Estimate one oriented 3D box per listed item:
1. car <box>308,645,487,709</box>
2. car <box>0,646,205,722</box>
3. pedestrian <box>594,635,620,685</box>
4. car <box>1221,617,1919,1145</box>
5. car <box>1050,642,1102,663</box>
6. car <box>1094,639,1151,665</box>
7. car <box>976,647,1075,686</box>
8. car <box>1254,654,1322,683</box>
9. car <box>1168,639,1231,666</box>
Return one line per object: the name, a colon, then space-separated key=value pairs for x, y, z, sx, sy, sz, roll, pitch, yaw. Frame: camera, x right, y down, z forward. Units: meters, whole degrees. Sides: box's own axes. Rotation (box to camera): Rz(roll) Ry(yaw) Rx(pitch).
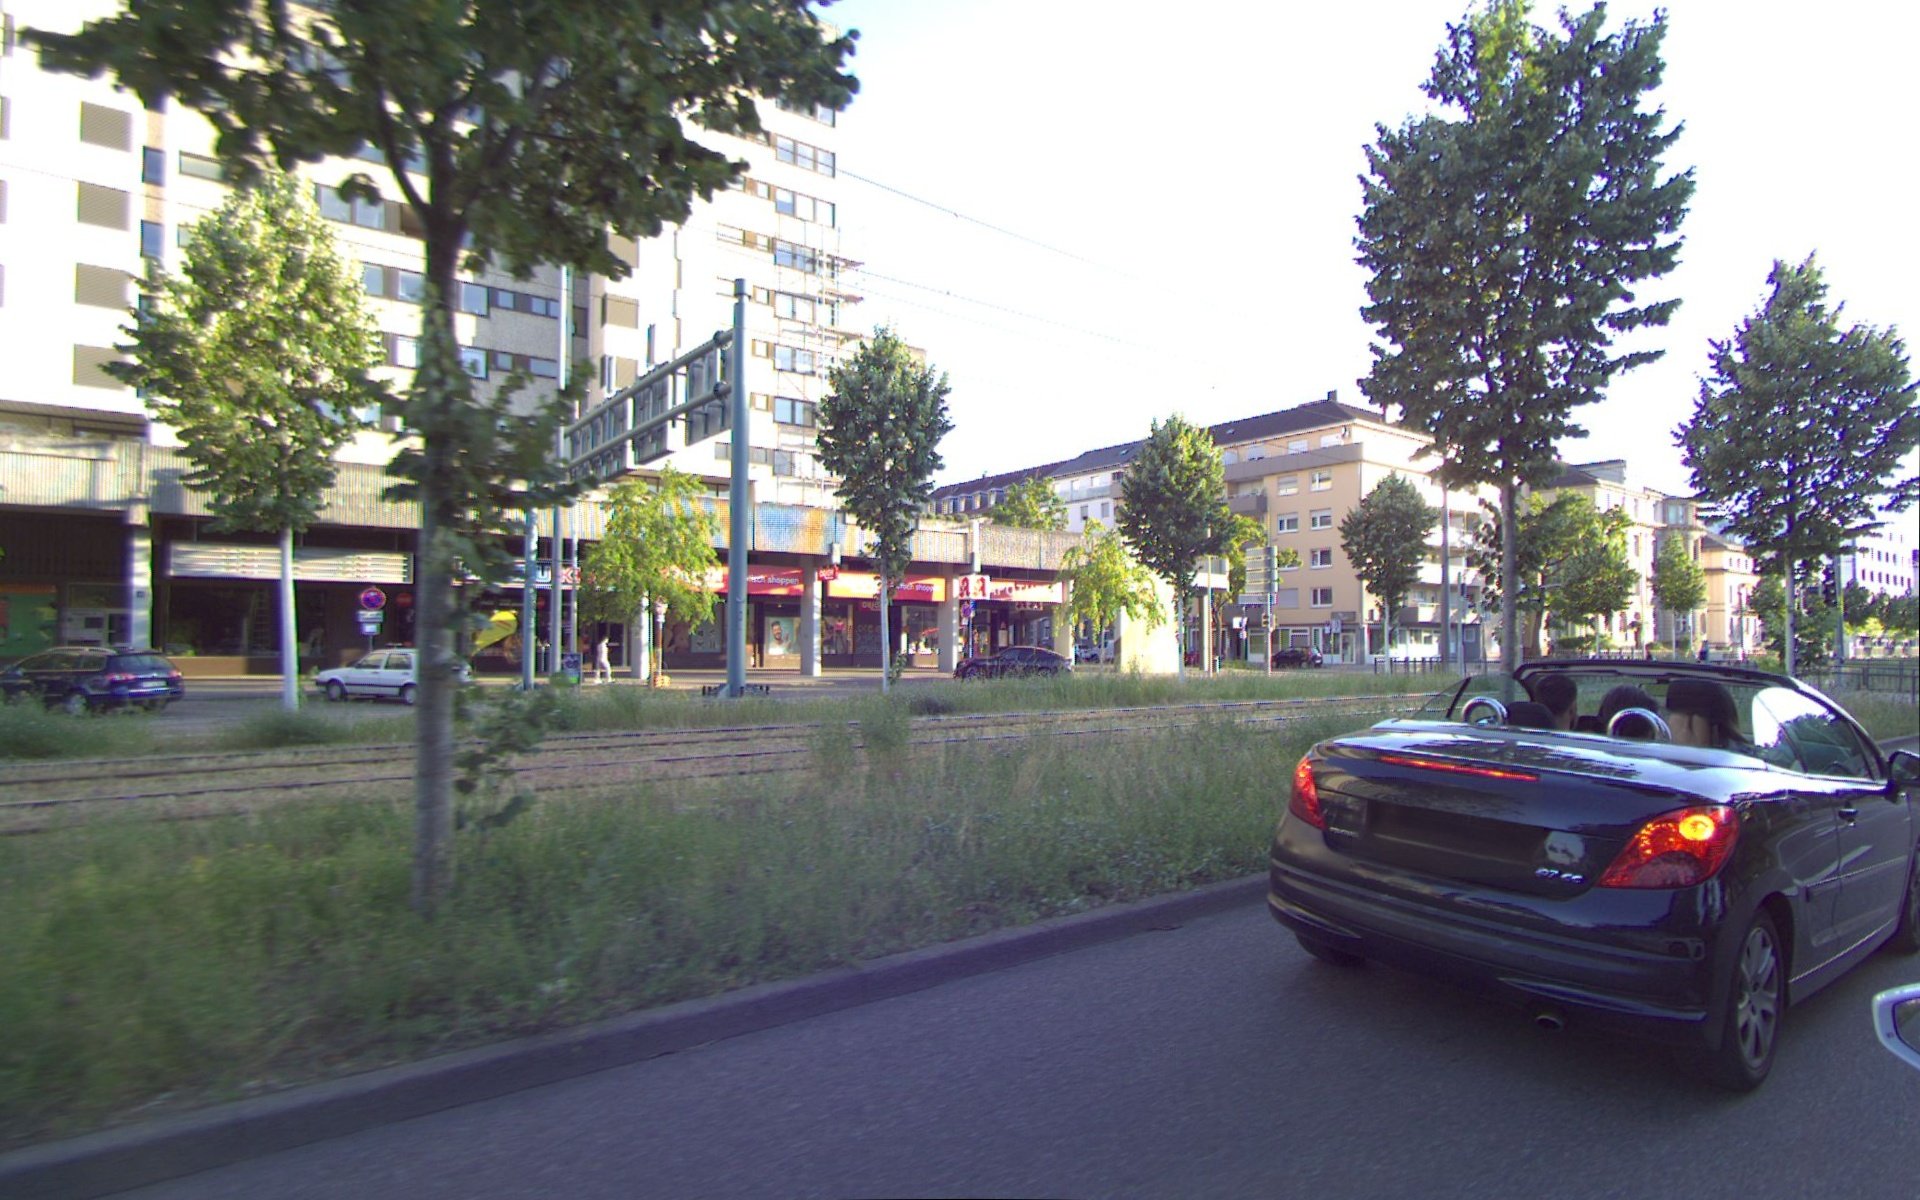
car: x=-15.097 y=2.027 z=27.004 sx=4.048 sy=1.455 sz=1.826 roll=1 pitch=-1 yaw=15
car: x=-19.953 y=1.865 z=22.992 sx=4.198 sy=1.611 sz=2.011 roll=0 pitch=-2 yaw=13
pedestrian: x=-12.104 y=2.051 z=34.474 sx=0.655 sy=1.683 sz=0.659 roll=2 pitch=-1 yaw=-36
car: x=3.134 y=0.818 z=4.653 sx=3.864 sy=1.469 sz=1.707 roll=1 pitch=-1 yaw=-36
car: x=10.060 y=4.564 z=87.436 sx=2.097 sy=1.778 sz=4.297 roll=2 pitch=-3 yaw=-37
car: x=13.373 y=4.259 z=82.850 sx=2.147 sy=2.016 sz=4.454 roll=2 pitch=-3 yaw=-37
car: x=2.609 y=2.599 z=39.725 sx=3.655 sy=1.469 sz=1.745 roll=0 pitch=-2 yaw=15
car: x=22.539 y=4.692 z=69.108 sx=2.171 sy=1.869 sz=3.905 roll=2 pitch=-3 yaw=-37
car: x=18.220 y=4.019 z=76.568 sx=2.147 sy=1.792 sz=4.299 roll=0 pitch=-4 yaw=-37
